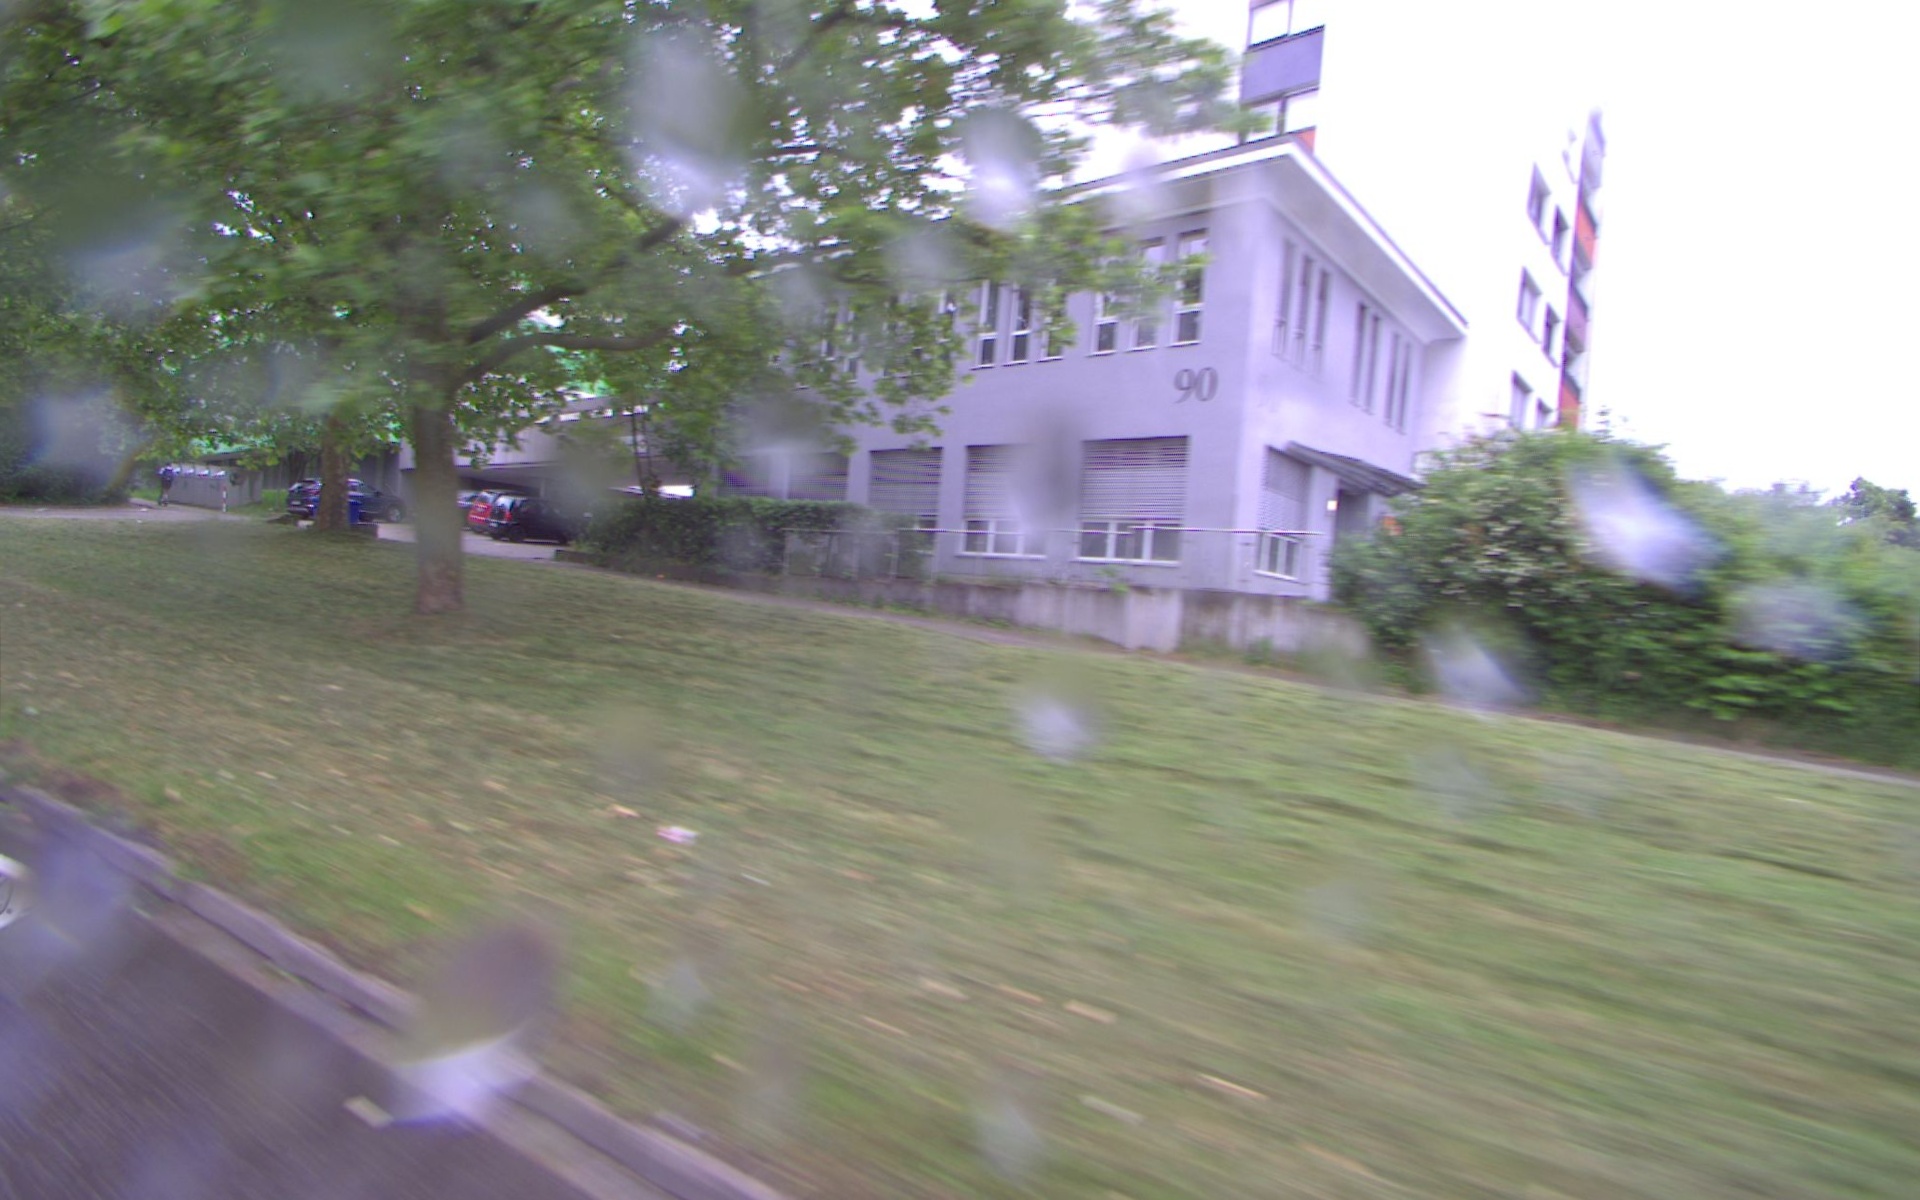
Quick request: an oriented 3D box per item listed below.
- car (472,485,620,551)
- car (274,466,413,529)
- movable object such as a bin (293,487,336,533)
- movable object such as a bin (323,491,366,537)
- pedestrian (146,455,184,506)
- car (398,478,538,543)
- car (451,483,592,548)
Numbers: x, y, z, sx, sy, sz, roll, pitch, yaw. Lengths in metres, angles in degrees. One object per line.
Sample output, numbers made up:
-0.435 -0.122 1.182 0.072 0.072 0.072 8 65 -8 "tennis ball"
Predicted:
-13.671 -2.695 33.372 1.972 1.661 3.979 8 2 41 "car"
-23.304 -3.843 38.171 1.965 1.773 3.993 7 2 27 "car"
-17.685 -2.459 27.569 0.651 1.133 0.670 7 -1 29 "movable object such as a bin"
-16.865 -2.352 27.556 0.651 1.133 0.670 7 -1 29 "movable object such as a bin"
-29.524 -4.426 37.351 0.834 1.773 0.663 7 2 16 "pedestrian"
-17.538 -3.180 35.997 1.972 1.773 3.979 8 2 41 "car"
-15.272 -2.930 35.186 1.930 1.683 3.982 8 2 38 "car"
